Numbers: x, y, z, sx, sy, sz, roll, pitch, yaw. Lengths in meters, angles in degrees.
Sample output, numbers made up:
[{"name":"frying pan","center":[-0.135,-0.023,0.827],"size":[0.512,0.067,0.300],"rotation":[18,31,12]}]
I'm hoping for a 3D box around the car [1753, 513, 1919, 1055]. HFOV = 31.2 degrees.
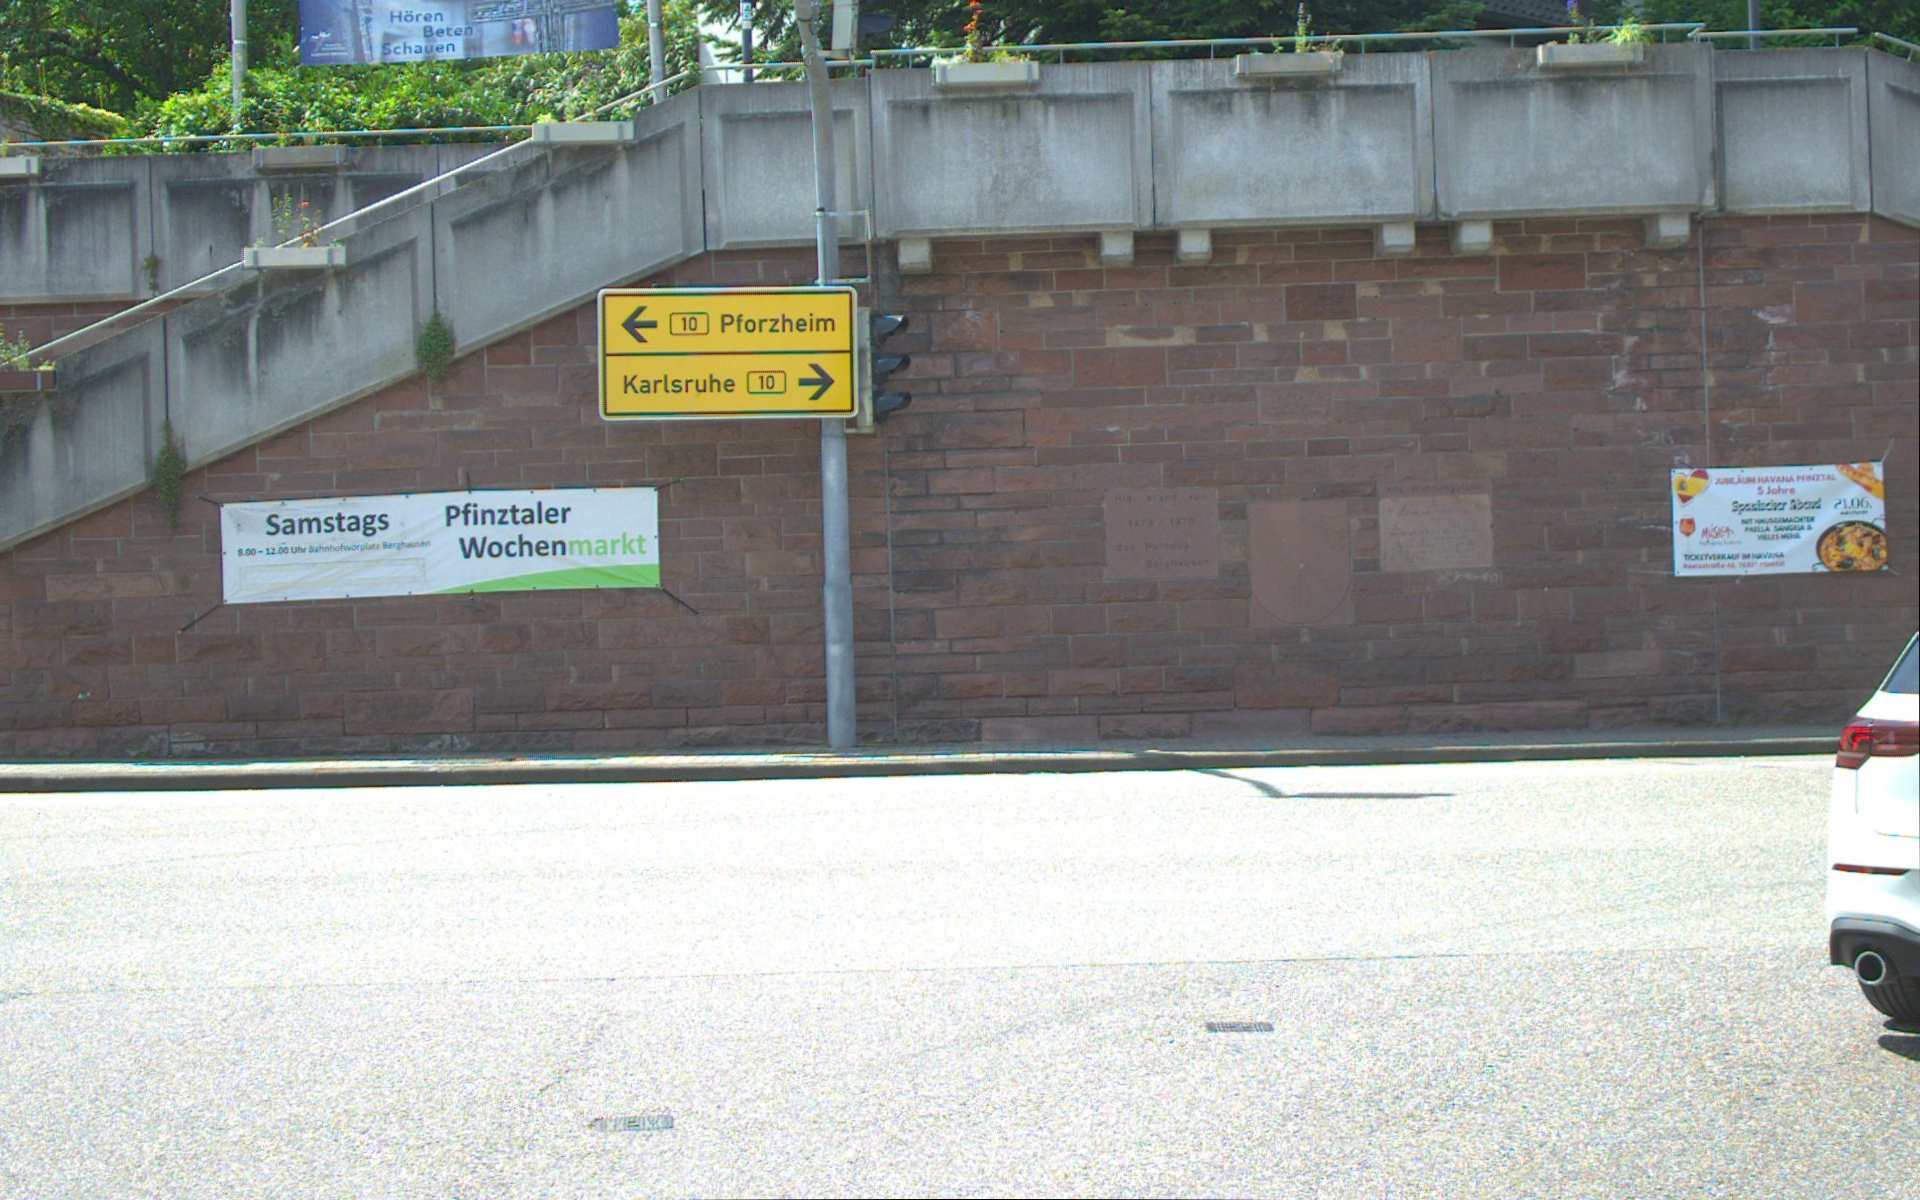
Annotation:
[{"name":"car","center":[4.190,0.443,10.329],"size":[1.787,1.453,3.853],"rotation":[-1,0,43]}]
